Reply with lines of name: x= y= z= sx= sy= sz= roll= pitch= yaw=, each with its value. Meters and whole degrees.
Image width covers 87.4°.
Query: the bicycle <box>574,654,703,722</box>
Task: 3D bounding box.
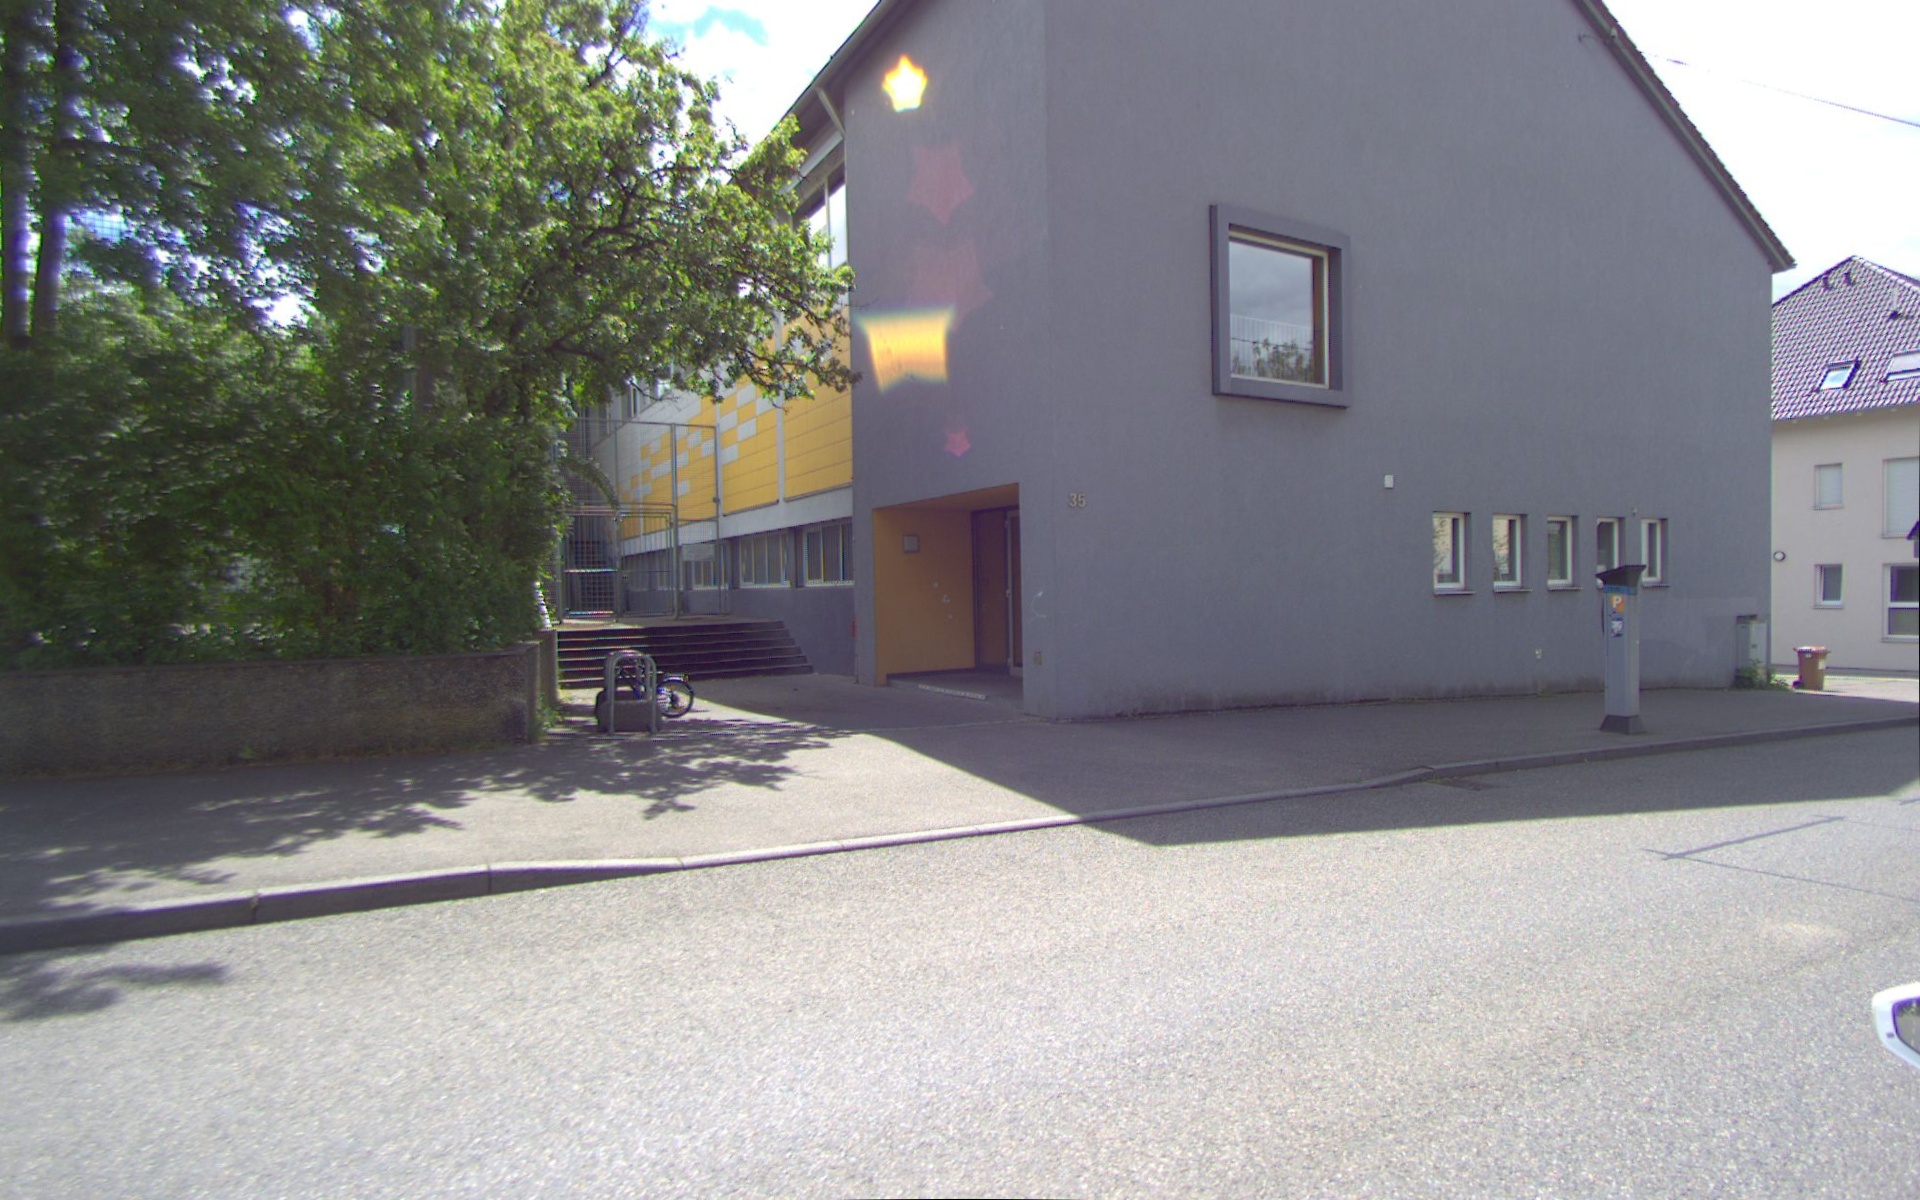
bicycle: x=-3.899 y=1.046 z=12.203 sx=1.424 sy=0.760 sz=0.585 roll=1 pitch=-3 yaw=-28

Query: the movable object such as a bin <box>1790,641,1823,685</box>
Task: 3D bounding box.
movable object such as a bin: x=18.652 y=1.389 z=22.133 sx=0.395 sy=0.941 sz=0.452 roll=1 pitch=0 yaw=-31
